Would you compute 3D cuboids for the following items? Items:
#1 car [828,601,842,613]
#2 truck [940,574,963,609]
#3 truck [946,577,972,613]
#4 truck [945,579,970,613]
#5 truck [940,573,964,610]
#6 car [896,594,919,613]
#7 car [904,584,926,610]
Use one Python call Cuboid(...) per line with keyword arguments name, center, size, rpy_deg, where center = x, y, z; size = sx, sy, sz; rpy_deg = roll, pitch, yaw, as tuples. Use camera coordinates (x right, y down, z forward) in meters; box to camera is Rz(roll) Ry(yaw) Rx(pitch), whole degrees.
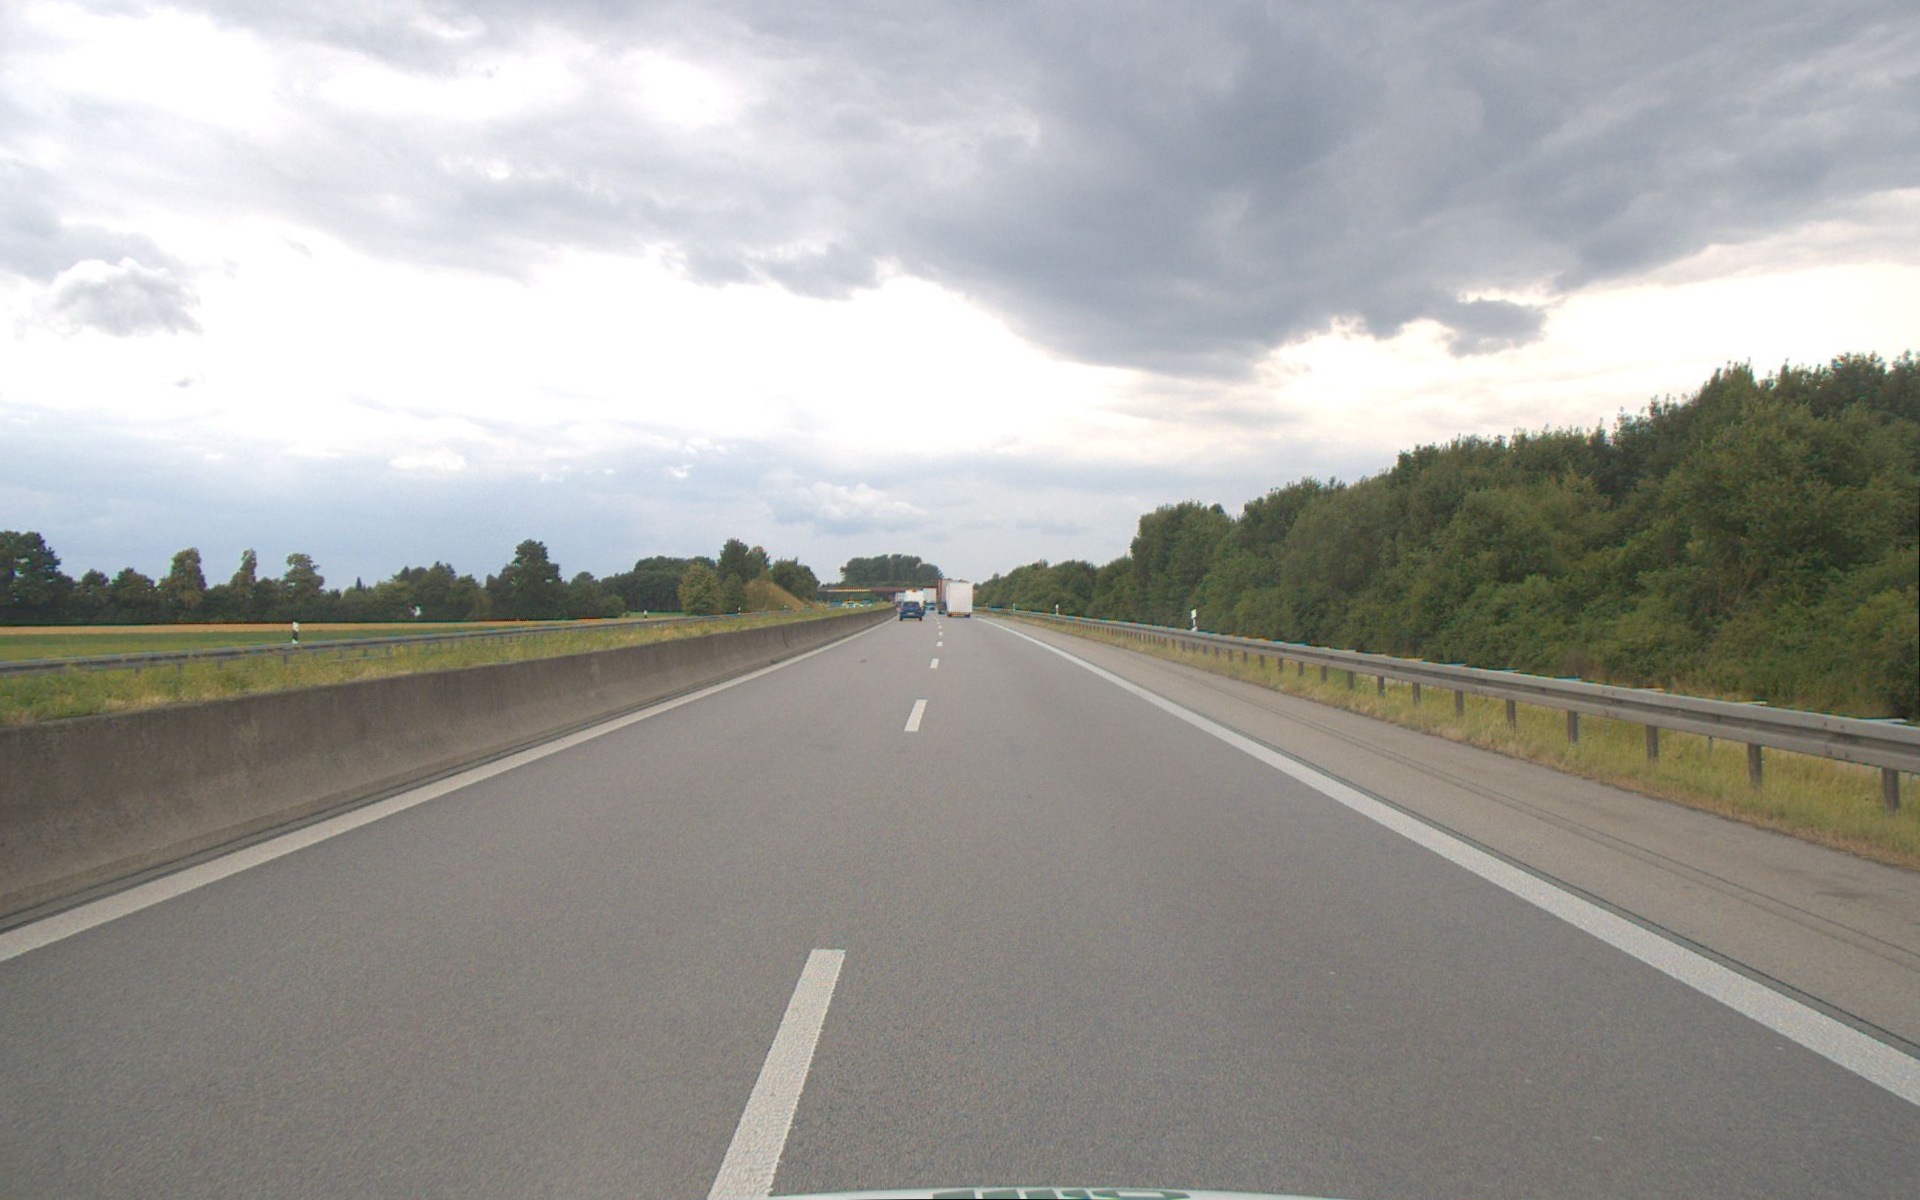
Cuboid(name="car", center=(-17.771, 1.002, 235.379), size=(1.711, 1.513, 4.528), rpy_deg=(-2, 0, -2))
Cuboid(name="truck", center=(-0.988, -1.043, 197.901), size=(2.618, 4.116, 5.512), rpy_deg=(-1, 0, 0))
Cuboid(name="truck", center=(-0.140, -0.402, 155.380), size=(2.366, 3.279, 7.142), rpy_deg=(0, 0, -1))
Cuboid(name="truck", center=(-0.242, -0.332, 162.571), size=(2.380, 3.300, 7.245), rpy_deg=(0, 0, -1))
Cuboid(name="truck", center=(-0.951, -1.021, 192.492), size=(2.618, 4.116, 11.106), rpy_deg=(-1, 0, 0))
Cuboid(name="car", center=(-3.892, 0.245, 123.231), size=(1.630, 1.432, 3.646), rpy_deg=(0, 0, -3))
Cuboid(name="car", center=(-4.482, -0.311, 165.625), size=(2.087, 2.526, 5.838), rpy_deg=(0, 0, -1))
